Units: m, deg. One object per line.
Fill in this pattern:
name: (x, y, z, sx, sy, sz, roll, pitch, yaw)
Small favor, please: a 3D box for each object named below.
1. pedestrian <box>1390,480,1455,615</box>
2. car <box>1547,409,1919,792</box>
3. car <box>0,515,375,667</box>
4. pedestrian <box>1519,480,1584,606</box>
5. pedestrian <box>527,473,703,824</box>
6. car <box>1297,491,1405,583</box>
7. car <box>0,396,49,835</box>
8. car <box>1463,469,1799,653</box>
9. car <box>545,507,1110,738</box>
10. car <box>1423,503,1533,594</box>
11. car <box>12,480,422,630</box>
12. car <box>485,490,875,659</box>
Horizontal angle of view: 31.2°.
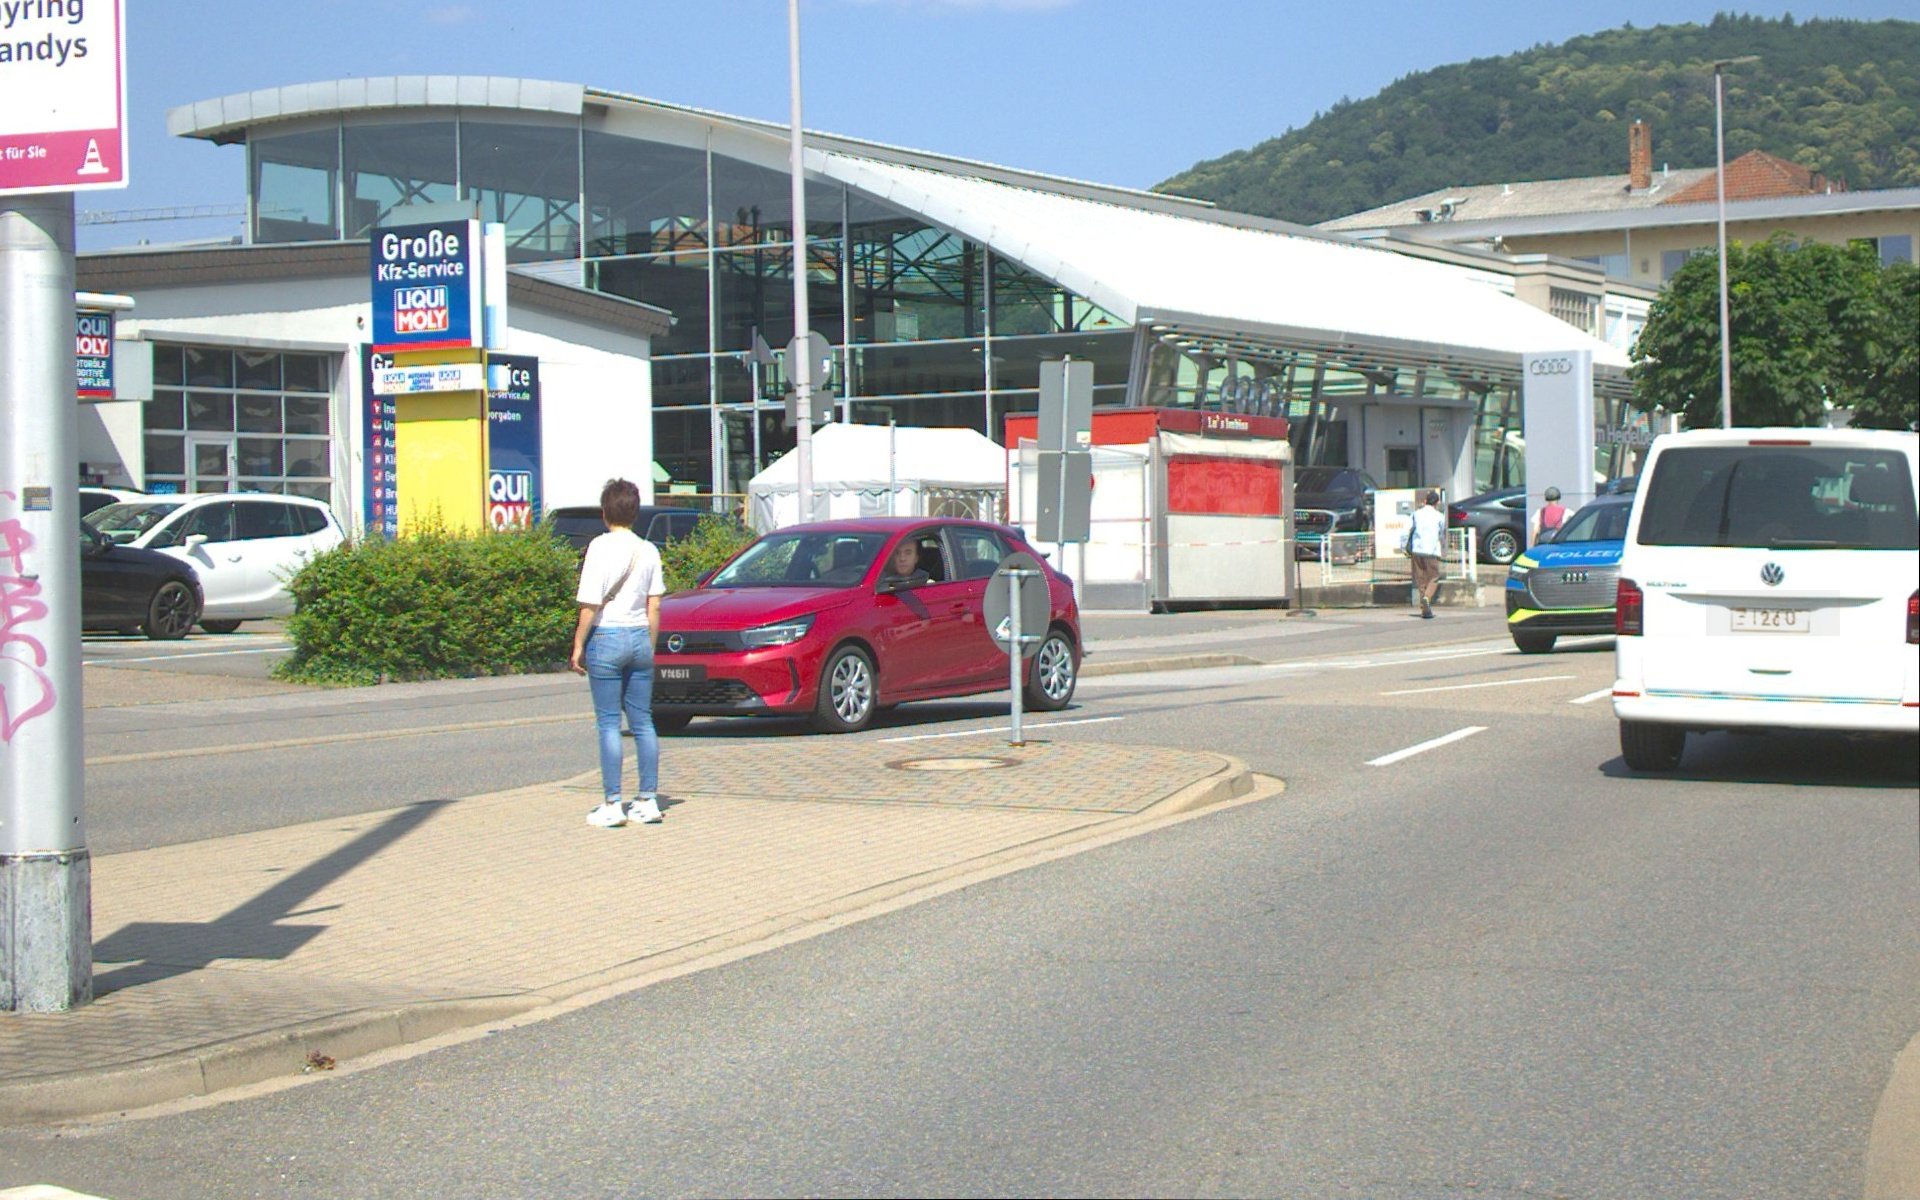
pedestrian: (6.196, -0.711, 46.034, 0.760, 1.782, 0.784, -1, 1, 14)
car: (5.198, -0.059, 20.664, 2.165, 2.007, 5.012, 1, 1, 23)
car: (-8.370, -0.124, 36.342, 2.029, 1.422, 4.311, -1, 2, 29)
pedestrian: (8.486, -0.822, 49.289, 0.760, 1.782, 0.927, -1, 1, 18)
pedestrian: (-1.675, 0.221, 16.633, 0.759, 1.651, 0.673, -1, 1, -12)
car: (7.071, -1.143, 61.933, 1.746, 1.579, 3.660, -1, 1, 9)
car: (-6.761, 0.147, 15.392, 2.026, 2.107, 4.924, 1, 3, 38)
car: (7.010, -0.438, 35.559, 1.912, 1.754, 4.444, -1, 2, 32)
car: (-0.829, 0.106, 24.041, 1.845, 1.459, 4.135, -1, 1, 34)
car: (9.374, -0.952, 62.380, 1.745, 1.579, 3.661, -1, 1, 5)
car: (-8.621, -0.557, 40.373, 1.883, 1.583, 4.920, -3, 0, 29)
car: (-2.852, -0.298, 35.845, 1.997, 1.612, 3.993, -1, 2, 33)
